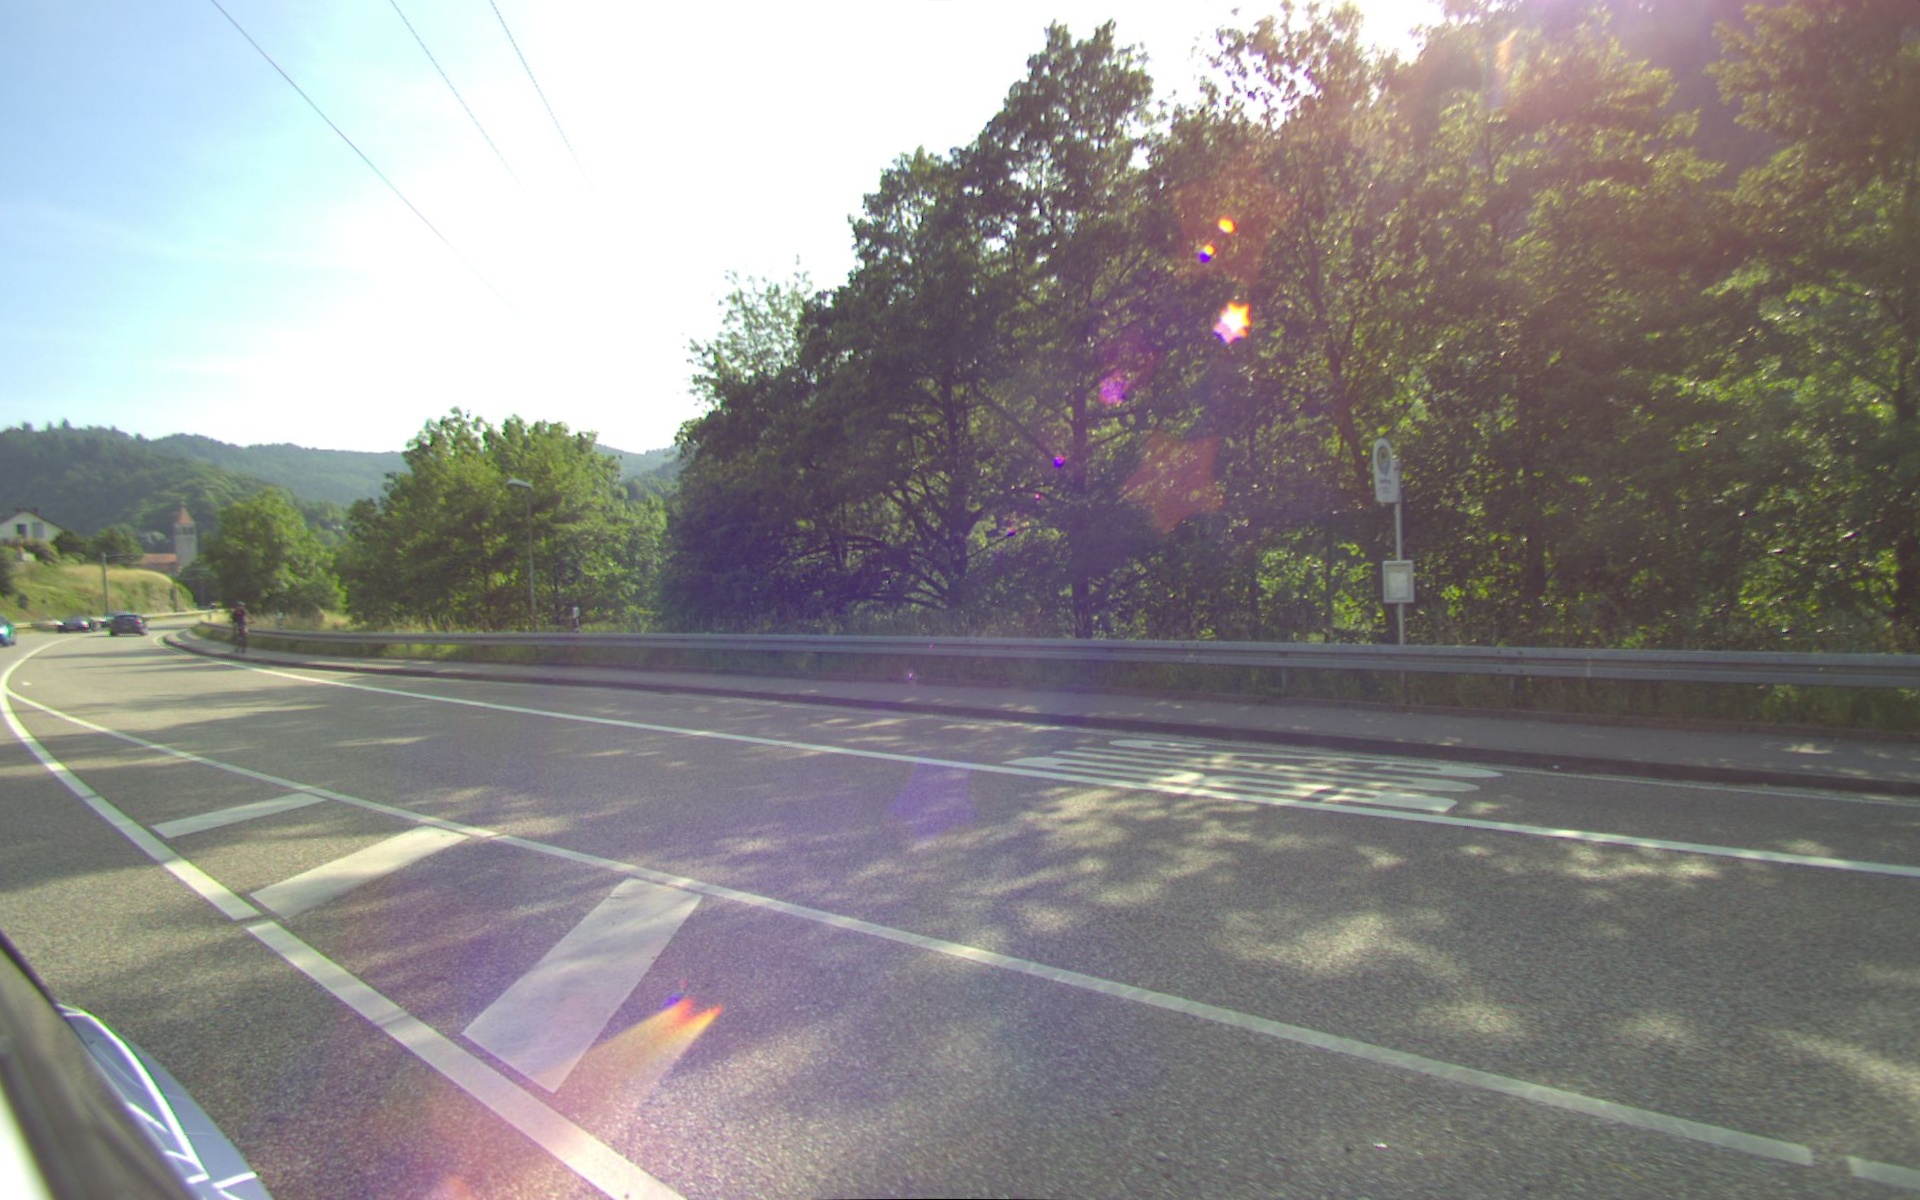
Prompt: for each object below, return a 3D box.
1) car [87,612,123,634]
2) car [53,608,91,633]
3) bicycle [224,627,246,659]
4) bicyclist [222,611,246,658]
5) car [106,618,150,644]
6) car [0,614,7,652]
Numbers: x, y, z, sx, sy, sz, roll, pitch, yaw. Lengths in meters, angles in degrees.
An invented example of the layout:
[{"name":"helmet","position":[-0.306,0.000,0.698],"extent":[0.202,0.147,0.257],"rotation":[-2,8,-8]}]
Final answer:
[{"name":"car","position":[-73.250,1.943,86.733],"extent":[1.855,1.758,4.190],"rotation":[-1,0,-34]},{"name":"car","position":[-65.172,1.463,74.329],"extent":[1.856,1.758,4.187],"rotation":[-1,0,-38]},{"name":"bicycle","position":[-25.708,1.518,35.881],"extent":[0.550,1.053,2.234],"rotation":[-6,2,-36]},{"name":"bicyclist","position":[-25.714,1.216,35.837],"extent":[0.550,1.598,1.038],"rotation":[-6,2,-36]},{"name":"car","position":[-54.070,1.969,65.828],"extent":[1.866,1.499,4.010],"rotation":[-2,1,-35]},{"name":"car","position":[-46.446,1.539,47.914],"extent":[1.858,1.758,4.182],"rotation":[2,-2,-44]}]
